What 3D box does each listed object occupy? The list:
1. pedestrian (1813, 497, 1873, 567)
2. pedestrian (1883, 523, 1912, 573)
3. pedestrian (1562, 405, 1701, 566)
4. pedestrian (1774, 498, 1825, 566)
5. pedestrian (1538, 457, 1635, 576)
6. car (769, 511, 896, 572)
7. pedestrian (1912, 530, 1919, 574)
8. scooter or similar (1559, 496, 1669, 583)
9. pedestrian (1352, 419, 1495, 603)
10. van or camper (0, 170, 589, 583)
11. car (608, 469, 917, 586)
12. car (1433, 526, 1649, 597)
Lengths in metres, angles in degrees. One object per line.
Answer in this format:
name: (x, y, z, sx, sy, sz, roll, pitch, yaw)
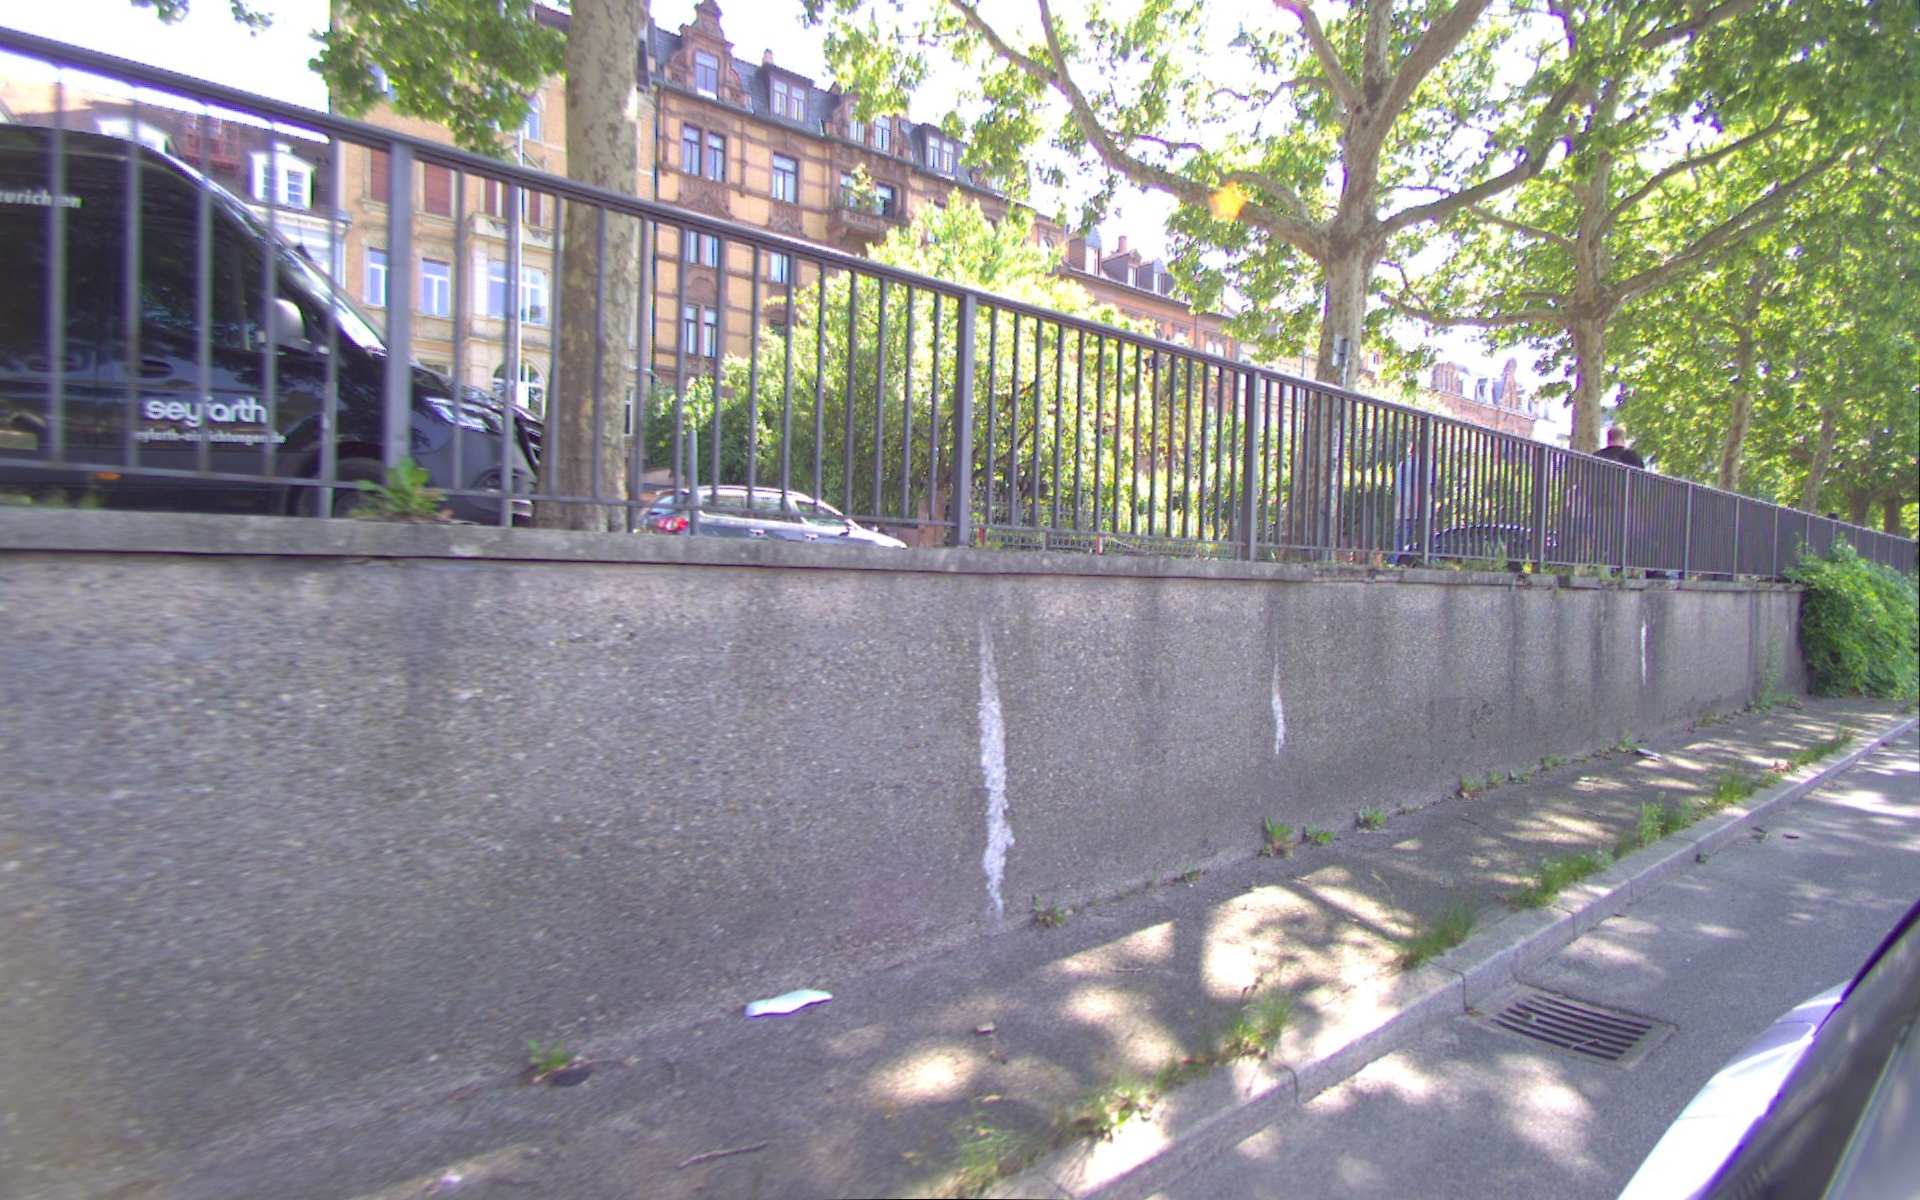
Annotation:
pedestrian: (17.962, -1.382, 20.581, 0.800, 1.382, 0.754, 0, 4, -42)
pedestrian: (31.607, -1.736, 34.127, 0.646, 1.660, 0.617, 2, 2, 42)
pedestrian: (7.251, -1.203, 10.929, 1.010, 1.598, 0.938, 0, 4, -42)
pedestrian: (17.743, -1.438, 21.393, 0.781, 1.382, 0.645, 0, 4, -42)
pedestrian: (7.683, -1.009, 12.409, 0.972, 1.382, 0.682, 0, 4, -41)
car: (-3.633, -1.603, 28.443, 1.759, 1.556, 3.793, 1, 1, -40)
pedestrian: (32.212, -1.596, 33.754, 0.584, 1.437, 0.580, 2, 2, 42)
scooter or similar: (8.384, -0.774, 12.977, 1.088, 1.038, 0.857, 0, 4, -41)
pedestrian: (3.896, -0.722, 8.506, 0.933, 1.442, 0.682, 0, 4, -41)
van or camper: (-6.414, -1.253, 6.585, 7.205, 2.212, 2.349, -1, -1, -11)
car: (-2.982, -1.060, 15.774, 4.349, 1.531, 1.842, 0, 3, -39)
car: (11.860, -0.833, 20.879, 1.484, 1.250, 3.541, 1, 4, -30)
